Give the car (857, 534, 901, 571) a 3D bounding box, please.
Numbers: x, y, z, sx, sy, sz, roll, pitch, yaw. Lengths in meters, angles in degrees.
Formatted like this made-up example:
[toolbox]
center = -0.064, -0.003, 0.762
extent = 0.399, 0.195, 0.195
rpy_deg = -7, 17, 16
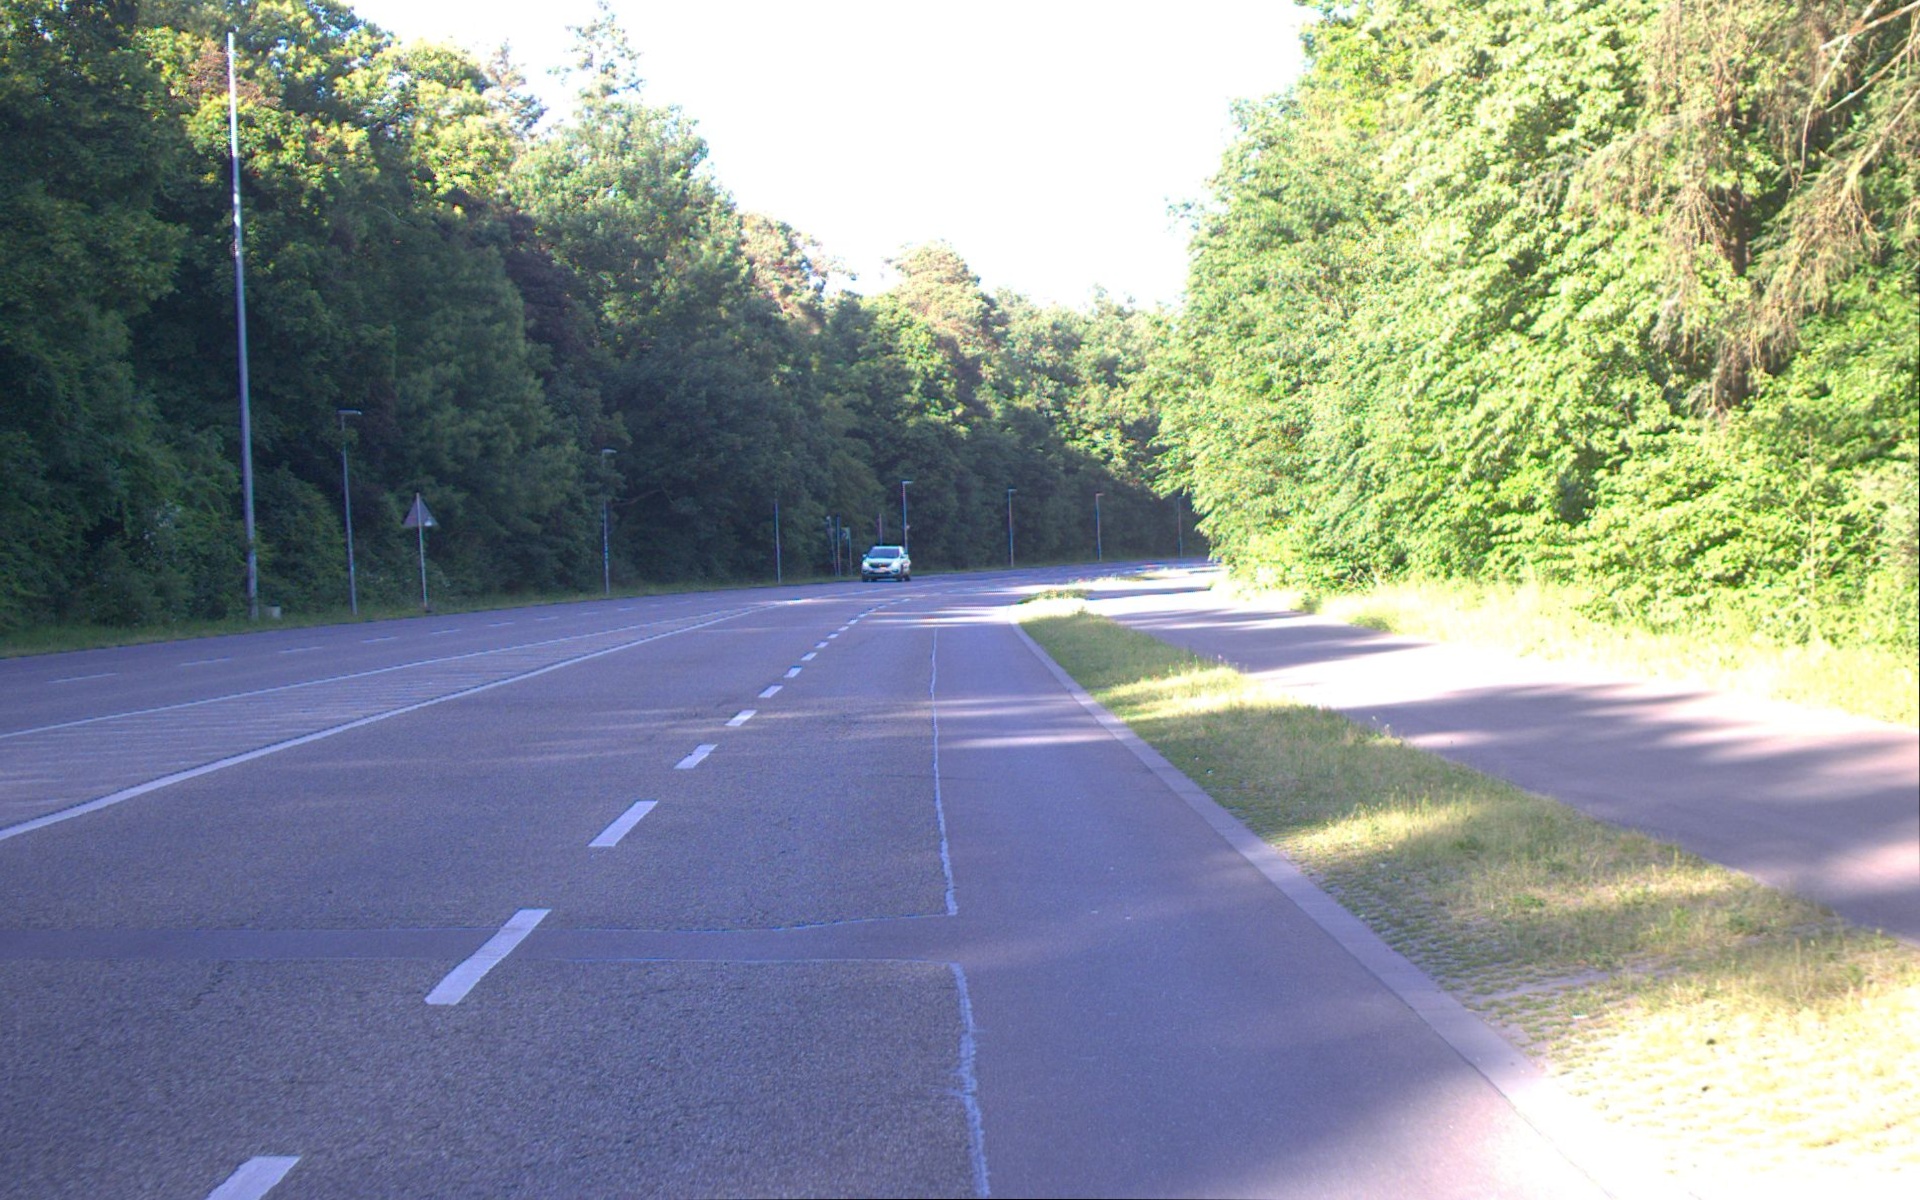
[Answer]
[car]
center = -3.734, -2.210, 158.745
extent = 1.908, 1.658, 4.734
rpy_deg = -1, 1, 0
